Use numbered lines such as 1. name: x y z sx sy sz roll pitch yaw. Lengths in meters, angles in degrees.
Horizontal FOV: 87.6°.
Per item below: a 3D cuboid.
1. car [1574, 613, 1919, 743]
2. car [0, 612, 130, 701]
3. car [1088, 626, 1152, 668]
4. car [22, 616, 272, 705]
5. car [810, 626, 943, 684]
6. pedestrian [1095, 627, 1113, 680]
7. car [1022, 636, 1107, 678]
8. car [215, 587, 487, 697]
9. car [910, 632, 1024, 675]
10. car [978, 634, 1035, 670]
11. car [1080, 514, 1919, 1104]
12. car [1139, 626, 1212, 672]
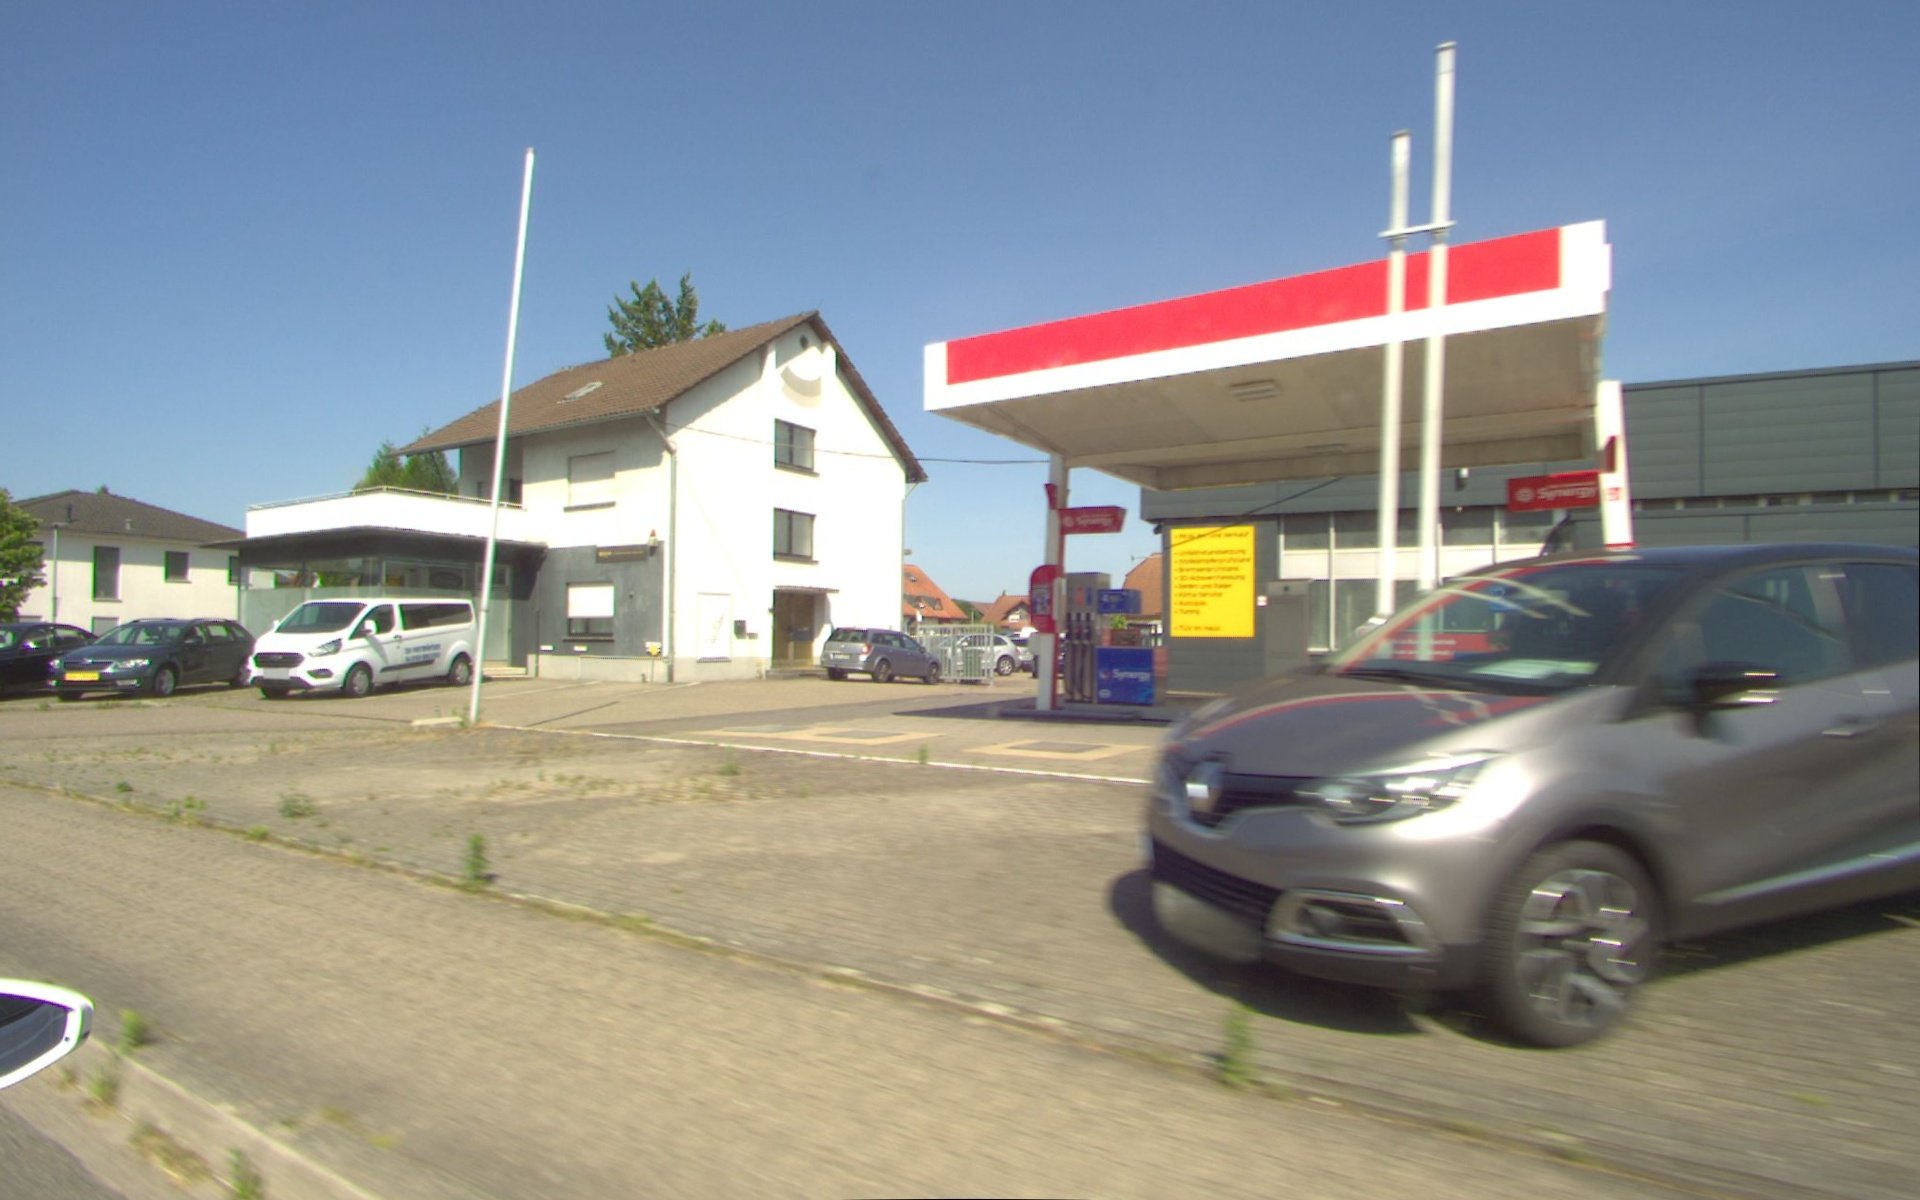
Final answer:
1. car: 12.533 1.158 15.656 4.737 1.763 1.806 1 -2 23
2. car: -18.364 1.049 19.194 1.947 1.586 4.237 0 -2 -11
3. car: 11.316 3.243 70.401 2.730 2.835 5.417 -1 -2 30
4. car: -15.930 1.132 19.970 1.947 1.570 4.316 0 -2 -9
5. car: -2.247 1.579 28.150 1.784 1.497 4.061 -1 -4 29
6. pedestrian: 5.184 1.910 36.058 0.599 1.889 0.503 0 -1 16
7. car: 3.790 2.060 35.938 1.784 1.392 3.620 -1 -5 29
8. car: -12.686 0.862 21.412 2.188 2.039 5.287 0 -2 7
9. car: 0.299 2.063 38.203 4.022 1.497 1.802 4 -5 -33
10. car: 2.297 2.606 50.956 1.963 1.767 3.998 0 -2 -12
11. car: 2.760 0.547 4.174 4.109 1.575 1.771 -1 -1 -19
12. car: 14.645 3.268 67.679 2.729 2.961 7.334 -1 -2 30
